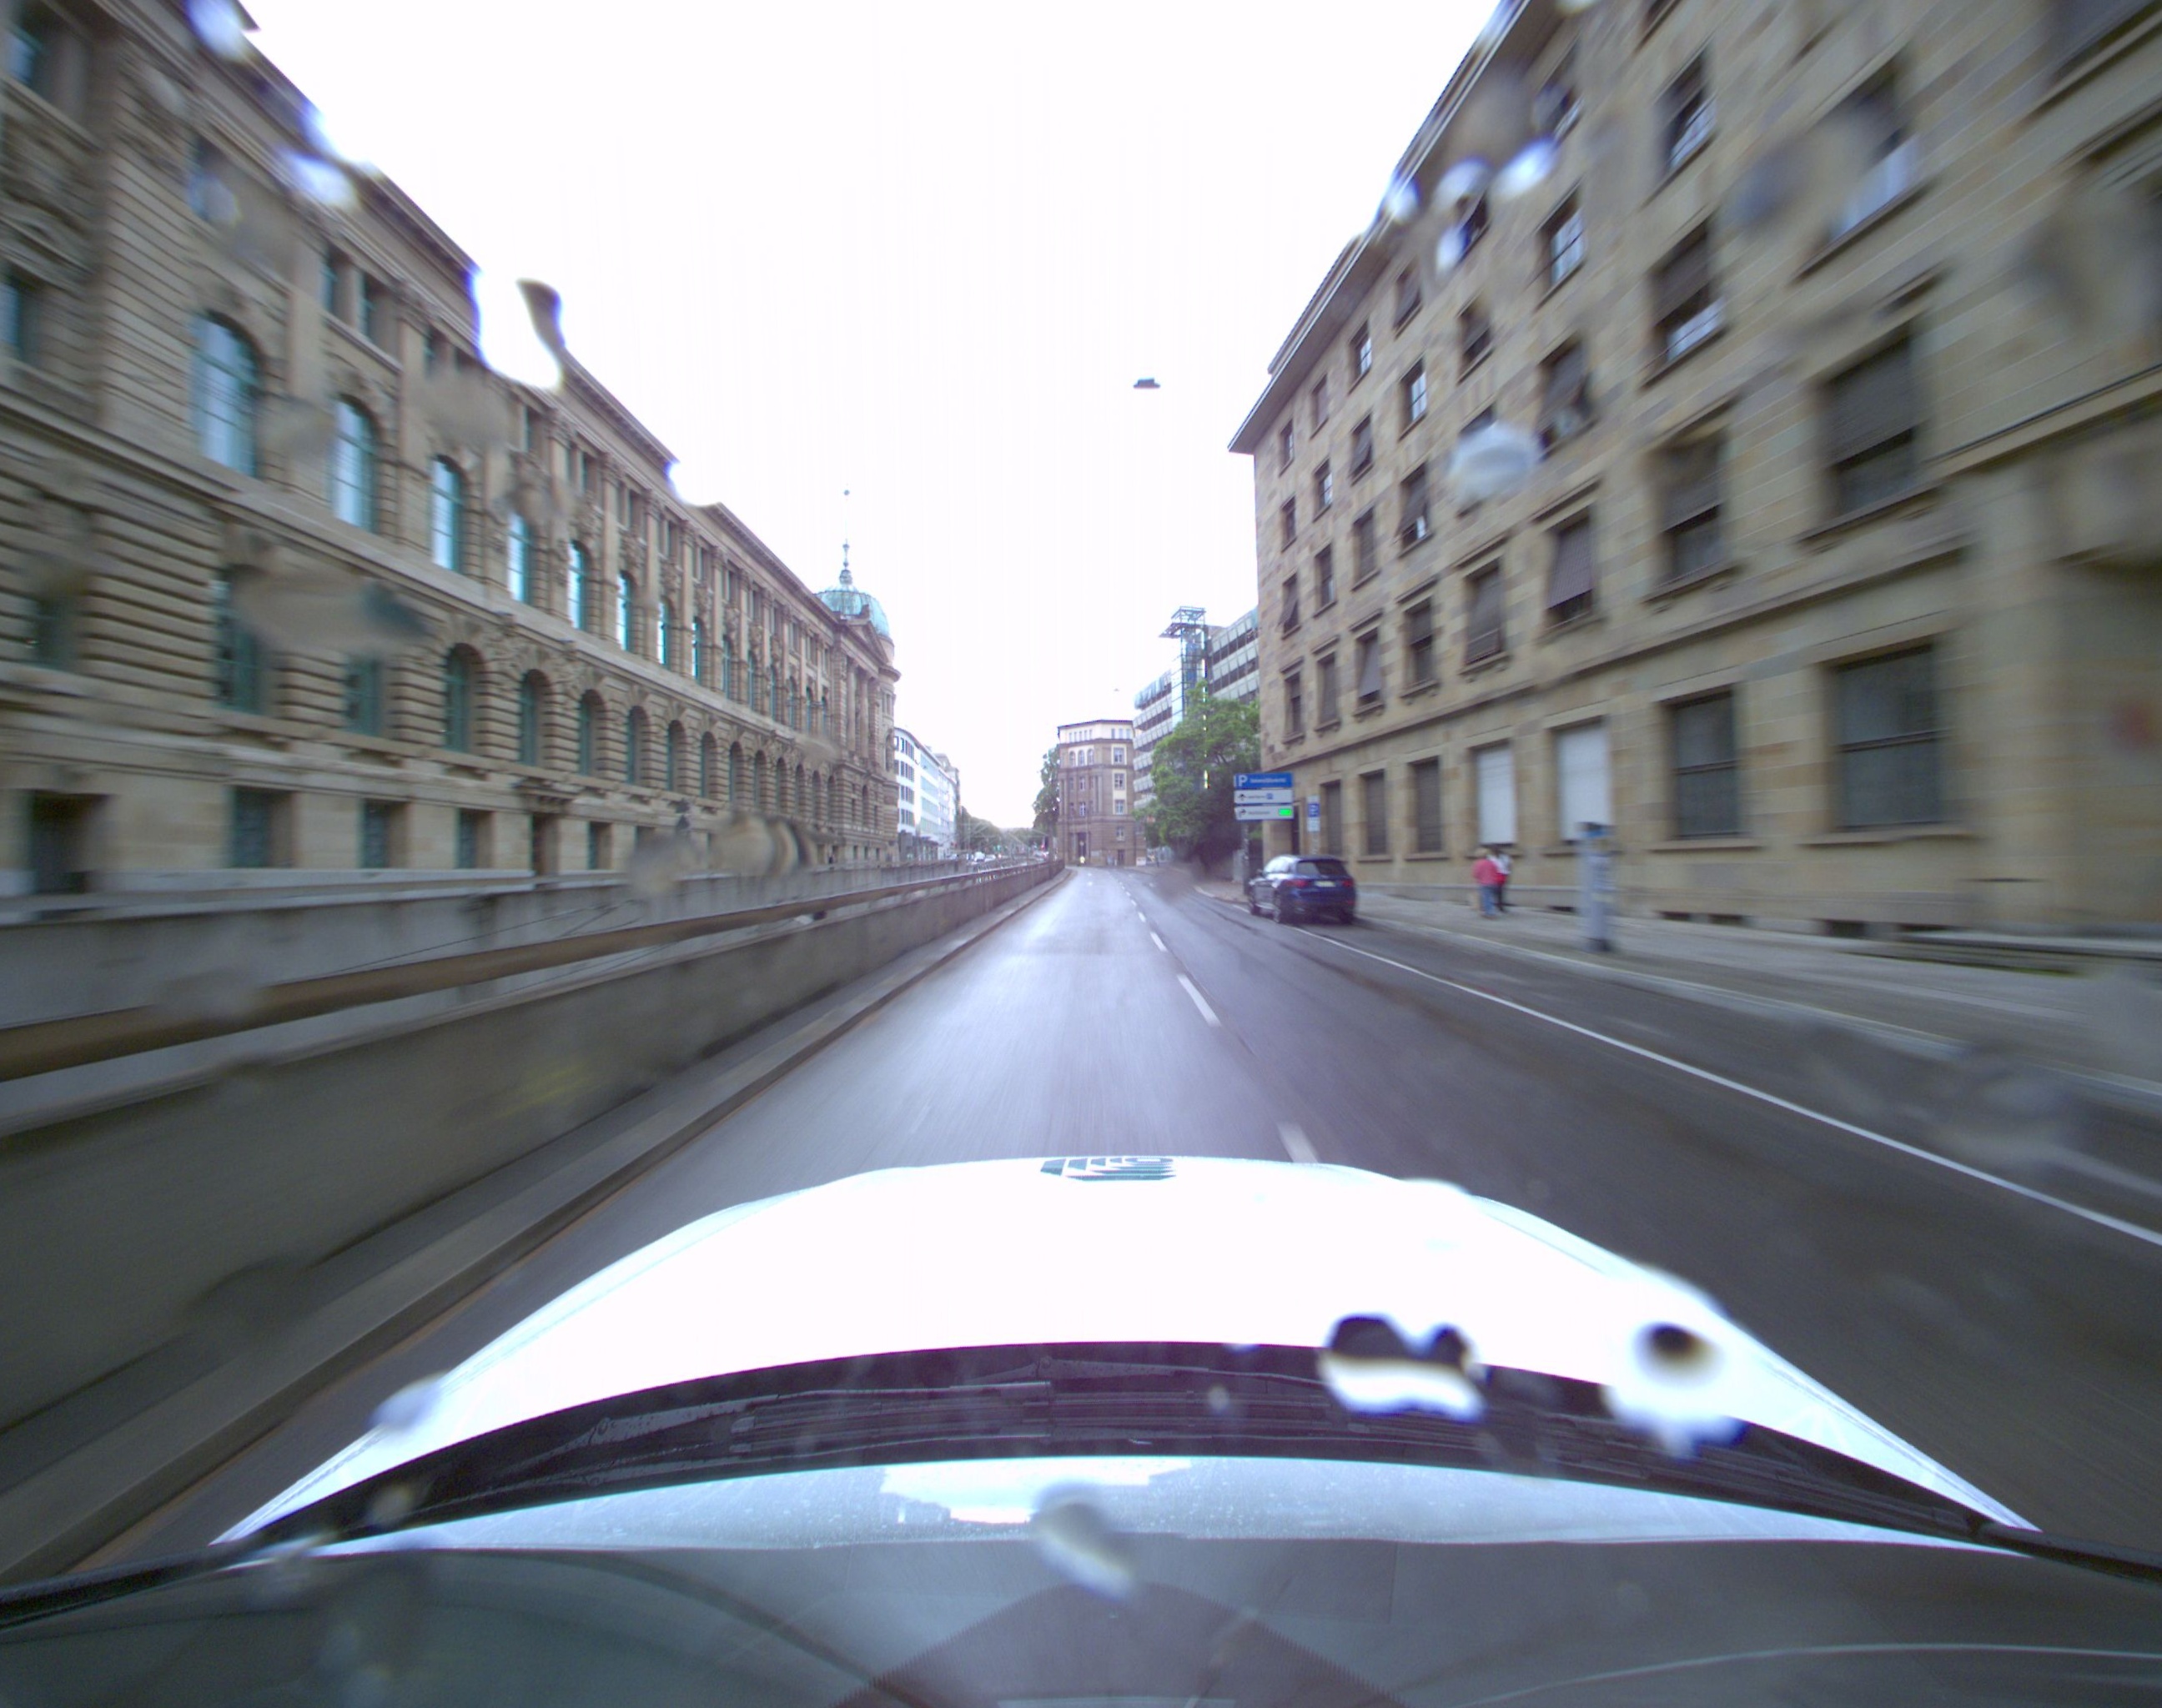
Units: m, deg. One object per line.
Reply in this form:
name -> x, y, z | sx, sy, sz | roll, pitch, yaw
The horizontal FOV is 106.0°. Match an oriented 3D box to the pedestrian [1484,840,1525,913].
pedestrian -> 9.457, 0.493, 18.192 | 0.523, 1.602, 0.673 | -1, -1, -4

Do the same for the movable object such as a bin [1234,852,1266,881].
movable object such as a bin -> 7.949, 0.573, 38.352 | 1.235, 1.310, 1.234 | -3, 0, 1

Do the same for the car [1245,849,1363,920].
car -> 5.536, 0.714, 20.764 | 1.763, 1.619, 4.155 | -1, -1, -1

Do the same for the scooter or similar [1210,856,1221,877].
scooter or similar -> 8.132, 0.747, 49.234 | 0.445, 1.259, 1.211 | -3, 0, 1

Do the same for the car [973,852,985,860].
car -> -20.010, 0.415, 159.845 | 1.990, 1.527, 3.657 | 0, 0, -5

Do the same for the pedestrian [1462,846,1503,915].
pedestrian -> 8.903, 0.573, 18.070 | 0.523, 1.492, 0.673 | -1, -1, -4

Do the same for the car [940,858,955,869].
car -> -22.742, 1.585, 138.700 | 1.990, 1.883, 4.919 | 0, 0, -4

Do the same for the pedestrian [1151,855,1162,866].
pedestrian -> 7.949, 0.666, 85.592 | 0.754, 1.123, 1.241 | 0, 0, -13

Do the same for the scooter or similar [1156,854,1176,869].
scooter or similar -> 7.826, 0.697, 75.232 | 1.643, 1.267, 0.737 | -3, 1, -25
